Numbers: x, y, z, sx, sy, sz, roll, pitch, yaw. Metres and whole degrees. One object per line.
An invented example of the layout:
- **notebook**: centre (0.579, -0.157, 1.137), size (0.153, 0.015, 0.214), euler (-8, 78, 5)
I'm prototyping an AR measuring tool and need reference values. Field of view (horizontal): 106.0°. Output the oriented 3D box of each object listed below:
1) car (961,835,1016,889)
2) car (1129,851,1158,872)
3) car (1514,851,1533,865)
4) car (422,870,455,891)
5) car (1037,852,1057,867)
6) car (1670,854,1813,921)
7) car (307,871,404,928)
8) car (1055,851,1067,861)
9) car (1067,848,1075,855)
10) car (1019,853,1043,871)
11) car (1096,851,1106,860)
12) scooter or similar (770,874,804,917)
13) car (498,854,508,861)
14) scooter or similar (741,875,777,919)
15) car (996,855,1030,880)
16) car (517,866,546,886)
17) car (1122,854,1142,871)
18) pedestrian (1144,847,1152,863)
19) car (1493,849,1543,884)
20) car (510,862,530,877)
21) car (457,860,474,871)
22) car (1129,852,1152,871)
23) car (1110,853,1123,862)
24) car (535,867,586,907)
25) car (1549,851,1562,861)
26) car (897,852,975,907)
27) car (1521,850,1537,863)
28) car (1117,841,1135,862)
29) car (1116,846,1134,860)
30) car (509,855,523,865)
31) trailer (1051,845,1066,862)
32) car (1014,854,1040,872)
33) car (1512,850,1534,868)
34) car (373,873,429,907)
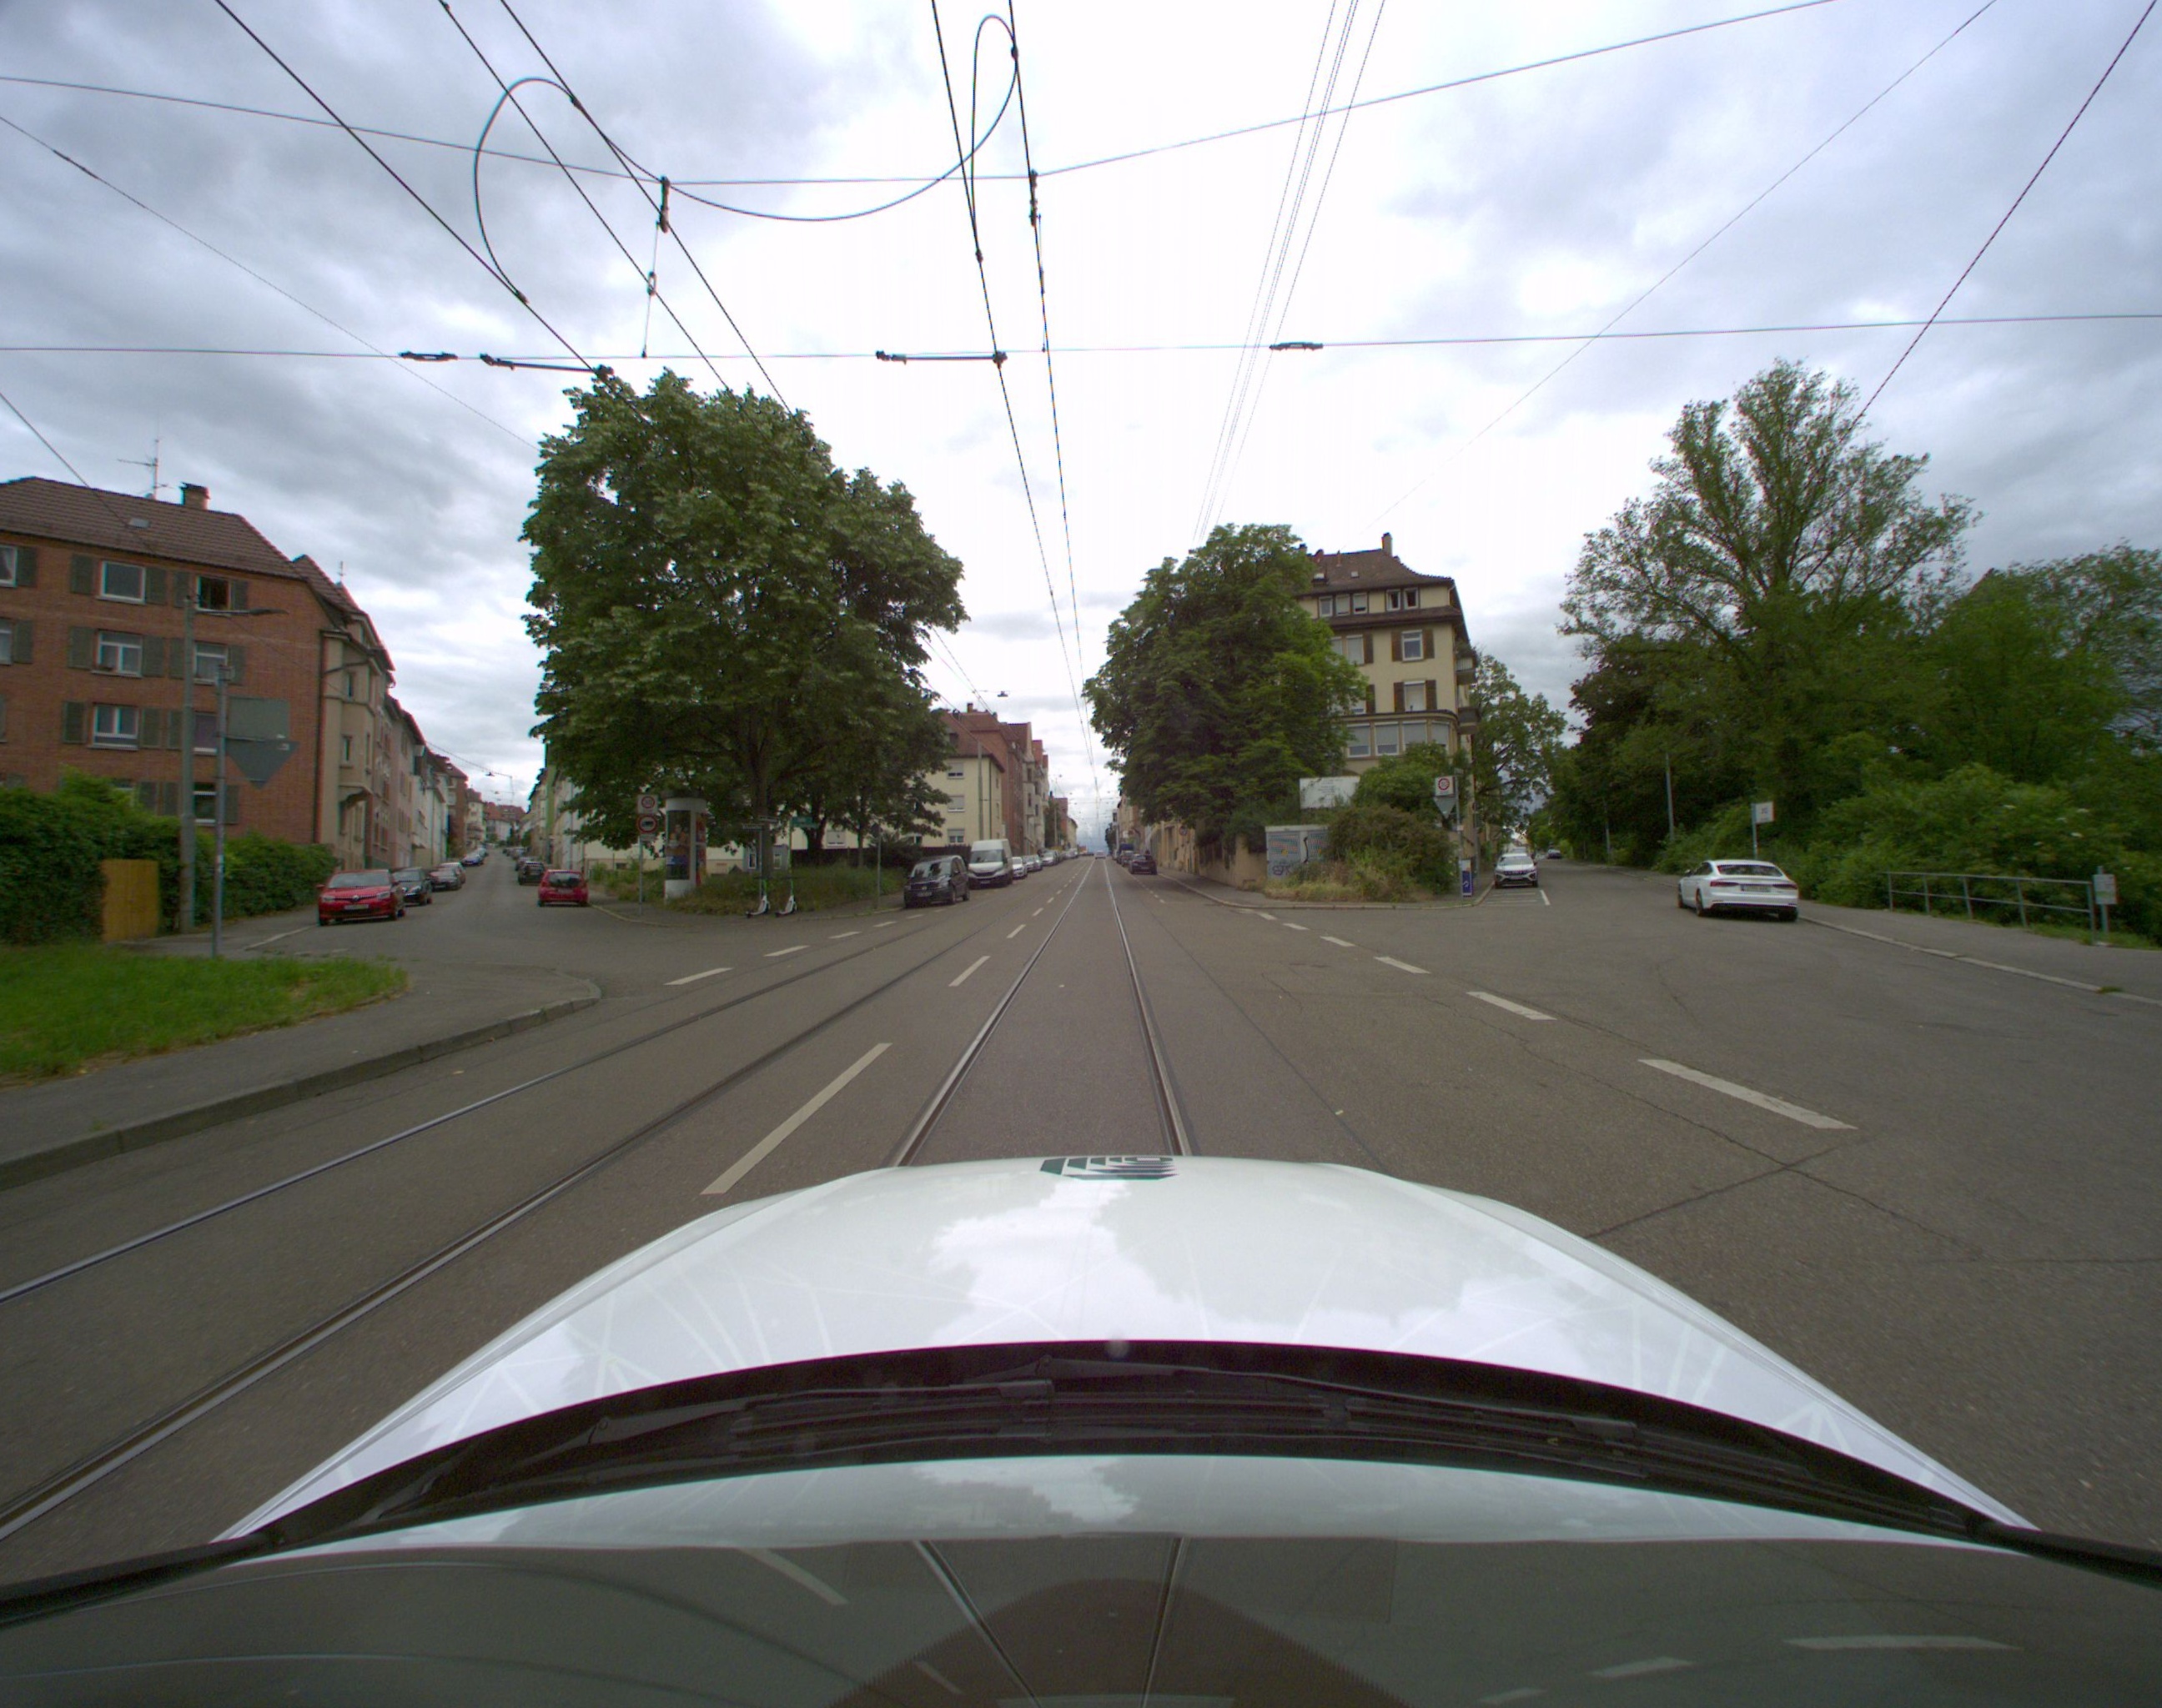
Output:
- **car**: centre (-5.022, 0.380, 45.072), size (2.152, 2.606, 6.218), euler (-4, 0, 0)
- **car**: centre (4.510, 0.542, 58.990), size (1.833, 1.403, 4.168), euler (1, 0, 1)
- **car**: centre (49.179, 0.446, 90.534), size (1.727, 1.541, 3.811), euler (-3, -2, 29)
- **car**: centre (-40.500, 1.667, 51.414), size (1.464, 1.235, 3.384), euler (0, 0, -35)
- **car**: centre (-3.790, 0.589, 92.011), size (1.821, 1.429, 4.841), euler (-3, 0, 2)
- **car**: centre (16.137, 0.718, 20.160), size (1.876, 1.381, 4.628), euler (2, 1, 28)
- **car**: centre (-21.277, 1.260, 24.011), size (1.757, 1.478, 3.574), euler (0, 0, -36)
- **car**: centre (-3.113, 0.273, 127.653), size (1.690, 1.468, 3.024), euler (-3, 0, 2)
- **car**: centre (-2.283, -0.513, 184.922), size (1.691, 1.433, 4.481), euler (-3, 0, 0)
- **car**: centre (-4.418, 0.695, 72.723), size (1.822, 1.429, 4.626), euler (-5, 1, -1)
- **car**: centre (3.634, 0.286, 145.869), size (1.666, 1.513, 3.797), euler (-1, 0, 0)
- **scooter or similar**: centre (-8.737, 1.210, 24.249), size (0.310, 1.145, 1.718), euler (-1, 1, 1)
- **car**: centre (-118.087, 0.788, 166.342), size (1.683, 1.415, 3.691), euler (0, 0, -35)
- **scooter or similar**: centre (-9.488, 1.249, 24.059), size (0.310, 1.145, 1.718), euler (-1, 1, 1)
- **car**: centre (-4.543, 0.862, 54.637), size (1.713, 1.402, 4.315), euler (-4, 0, 1)
- **car**: centre (-40.156, 1.582, 59.454), size (1.683, 1.415, 3.691), euler (0, 0, -35)
- **car**: centre (5.038, 0.826, 80.269), size (1.821, 1.519, 4.030), euler (1, 1, 2)
- **pedestrian**: centre (7.089, 0.100, 86.357), size (0.540, 1.682, 0.515), euler (-5, -2, -7)
- **car**: centre (20.370, 0.563, 37.884), size (1.823, 1.534, 4.533), euler (-2, -1, 30)
- **car**: centre (-58.289, 1.598, 84.674), size (1.683, 1.415, 3.691), euler (0, 0, -35)
- **car**: centre (-70.393, 1.346, 93.116), size (1.464, 1.235, 3.384), euler (0, 0, -35)
- **car**: centre (4.769, 0.593, 65.335), size (1.689, 1.404, 3.669), euler (1, 1, 2)
- **car**: centre (5.218, 0.516, 120.055), size (1.744, 1.390, 4.307), euler (1, 0, 0)
- **car**: centre (-20.981, 1.286, 32.888), size (1.658, 1.415, 3.694), euler (0, 0, -32)
- **car**: centre (76.257, 0.263, 130.964), size (1.727, 1.541, 3.811), euler (-3, -2, 29)
- **car**: centre (-5.326, 0.893, 30.540), size (1.755, 1.775, 4.671), euler (-5, 0, 3)
- **car**: centre (60.474, 0.351, 109.936), size (1.727, 1.541, 3.811), euler (-3, -2, 29)
- **car**: centre (5.367, -0.280, 97.946), size (1.986, 2.376, 5.057), euler (-1, 0, 1)
- **car**: centre (4.983, -0.099, 92.603), size (1.774, 1.530, 4.192), euler (2, 0, 1)
- **car**: centre (-85.735, 0.917, 123.496), size (1.683, 1.415, 3.691), euler (0, 0, -35)
- **trailer**: centre (-3.187, -0.091, 116.007), size (1.742, 2.155, 4.073), euler (-3, 0, 2)
- **car**: centre (-4.491, 0.731, 68.155), size (1.594, 1.368, 3.809), euler (-5, 1, 2)
- **car**: centre (41.872, 0.465, 77.097), size (1.727, 1.541, 3.811), euler (-3, -2, 29)
- **car**: centre (-27.666, 1.441, 33.203), size (1.464, 1.235, 3.740), euler (0, 0, -35)
